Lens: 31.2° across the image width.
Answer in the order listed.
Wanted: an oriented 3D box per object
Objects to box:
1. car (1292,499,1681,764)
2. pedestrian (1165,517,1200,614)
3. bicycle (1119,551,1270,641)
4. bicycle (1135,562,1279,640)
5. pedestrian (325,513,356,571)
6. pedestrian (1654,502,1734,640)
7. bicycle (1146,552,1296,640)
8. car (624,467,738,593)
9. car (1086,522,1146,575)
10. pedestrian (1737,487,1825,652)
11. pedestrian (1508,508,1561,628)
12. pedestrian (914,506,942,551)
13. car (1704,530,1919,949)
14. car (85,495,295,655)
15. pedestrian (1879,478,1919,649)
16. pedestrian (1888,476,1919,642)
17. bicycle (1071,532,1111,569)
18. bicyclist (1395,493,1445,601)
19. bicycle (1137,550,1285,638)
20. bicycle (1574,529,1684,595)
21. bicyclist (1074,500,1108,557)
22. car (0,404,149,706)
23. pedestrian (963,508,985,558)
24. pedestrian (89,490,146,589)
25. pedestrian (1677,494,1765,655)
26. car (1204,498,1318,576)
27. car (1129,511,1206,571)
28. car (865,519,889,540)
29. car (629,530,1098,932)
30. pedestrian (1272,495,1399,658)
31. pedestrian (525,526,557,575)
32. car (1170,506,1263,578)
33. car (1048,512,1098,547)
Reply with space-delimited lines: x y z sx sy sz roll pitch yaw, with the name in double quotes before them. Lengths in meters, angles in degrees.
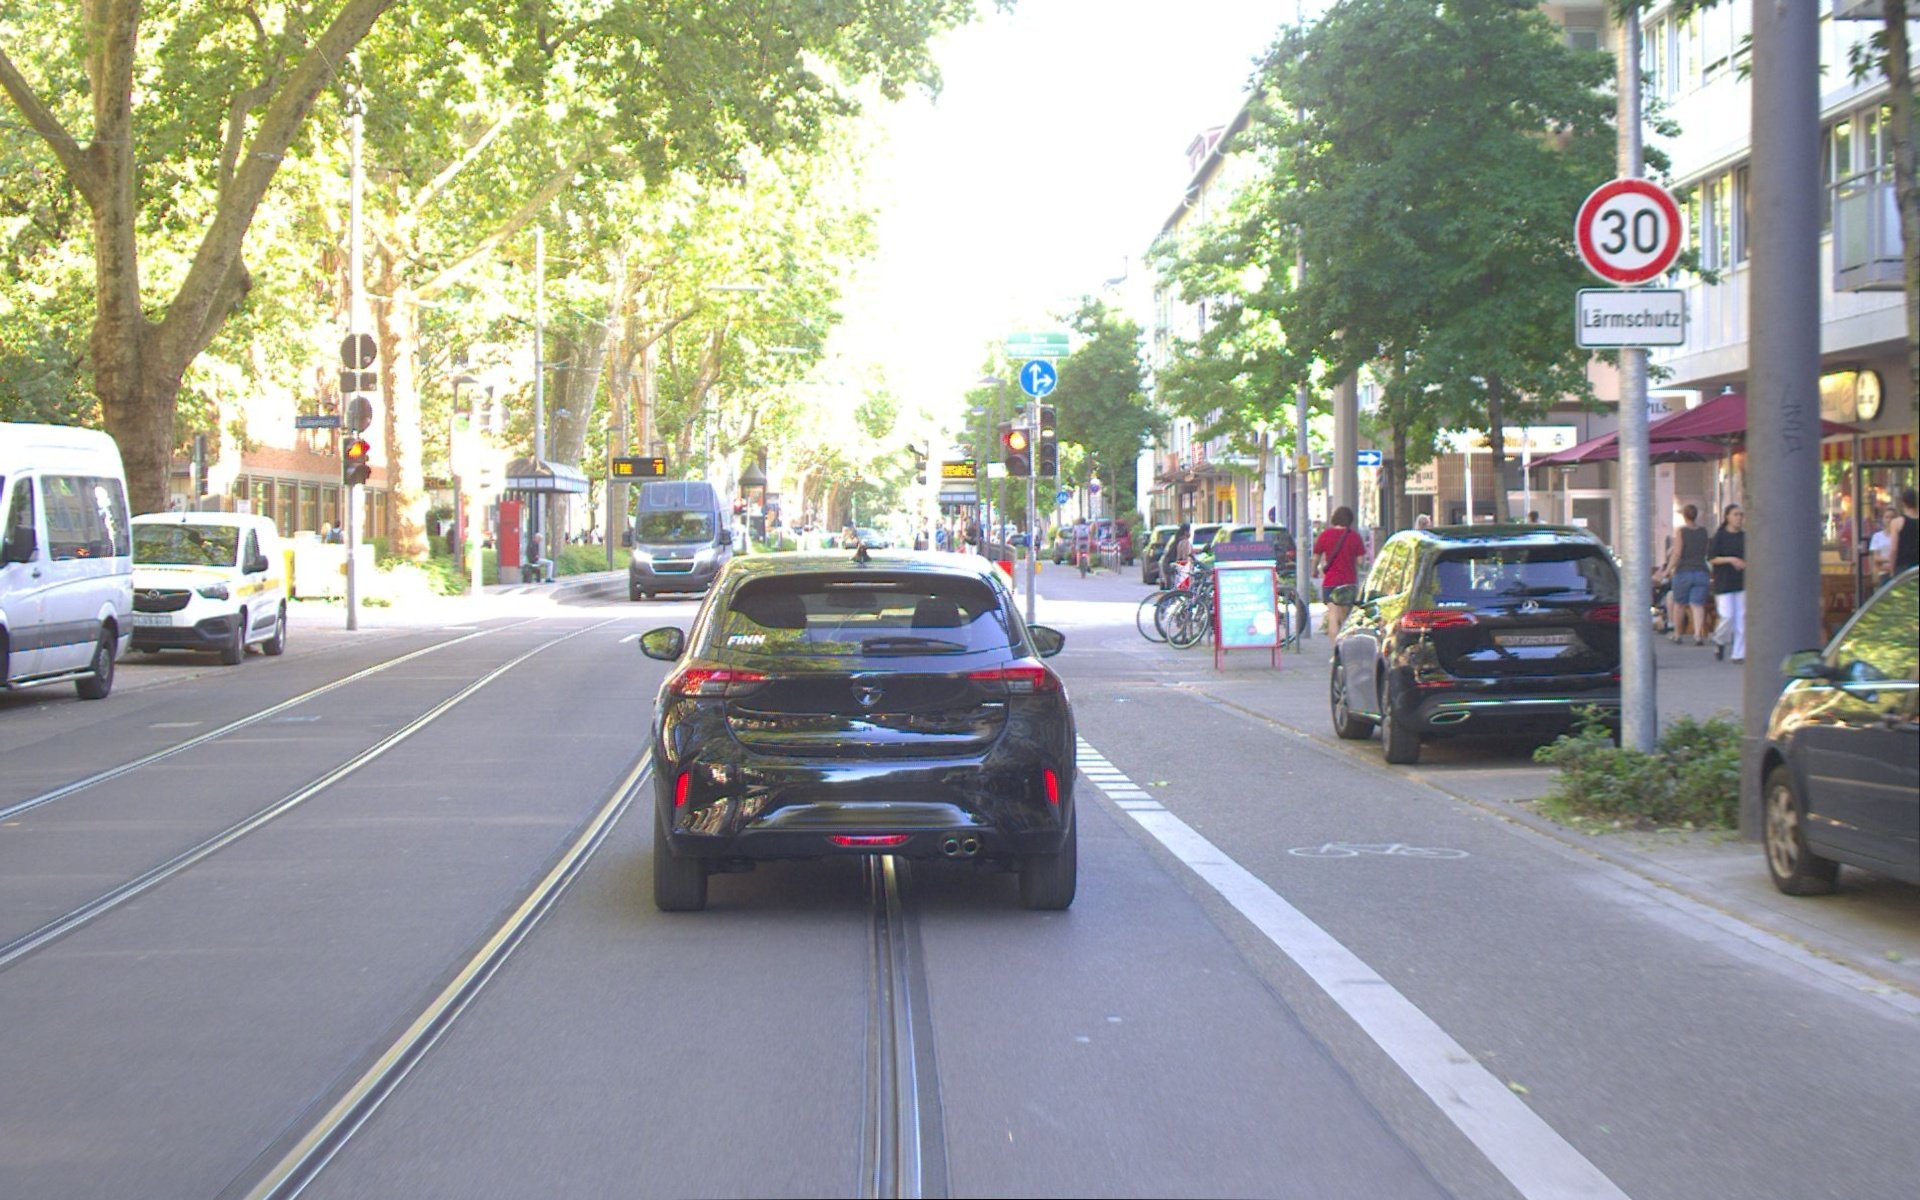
"car" 3.567 0.164 24.064 1.758 1.582 4.330 -4 1 -3
"pedestrian" 3.608 -0.551 55.823 0.551 1.556 0.645 1 0 4
"bicycle" 2.907 -0.056 42.721 1.815 1.096 0.525 0 1 -1
"bicycle" 3.213 0.016 44.837 1.815 0.991 0.481 1 1 -3
"pedestrian" -17.953 -1.681 99.710 0.735 1.666 0.861 1 1 0
"pedestrian" 8.940 -0.354 41.894 0.677 1.653 0.814 0 1 -11
"bicycle" 3.302 -0.049 43.481 1.815 1.096 0.481 0 1 -8
"car" -6.332 -1.593 78.621 2.113 2.728 6.115 -1 1 -1
"car" 5.901 -1.954 130.406 1.993 1.946 4.000 1 1 -1
"pedestrian" 8.565 -0.320 35.883 0.596 1.672 0.935 -3 1 -3
"pedestrian" 8.658 -0.484 51.835 0.590 1.778 0.995 1 1 -2
"pedestrian" -1.199 -2.686 129.128 0.751 1.703 0.762 1 1 34
"car" 4.239 0.482 13.302 1.622 1.476 3.890 -3 2 -3
"car" -9.379 -0.327 42.165 1.763 1.844 4.319 1 1 -2
"pedestrian" 9.995 -0.387 36.281 0.431 1.790 0.489 1 1 -2
"pedestrian" 10.500 -0.447 37.400 0.526 1.799 0.630 1 1 43
"bicycle" 4.021 -1.521 105.709 0.860 1.132 2.396 0 1 -7
"bicyclist" 7.354 -0.847 54.969 0.677 1.711 0.965 1 1 2
"bicycle" 3.217 -0.079 44.082 1.815 1.096 0.498 0 1 -8
"bicycle" 12.410 -0.715 63.802 1.914 1.203 0.511 0 2 -4
"bicyclist" 4.025 -2.197 105.752 0.860 1.753 1.054 0 1 -7
"car" -9.208 -0.423 31.443 2.108 2.568 6.024 1 1 0
"pedestrian" 0.446 -2.134 110.116 0.630 1.571 0.871 2 1 0
"pedestrian" -16.074 -1.160 65.609 0.923 1.829 0.920 0 3 -4
"pedestrian" 7.932 -0.272 35.851 0.642 1.632 0.870 -2 1 -2
"car" 6.344 -1.329 72.913 1.993 1.610 4.445 0 1 0
"car" 5.782 -1.649 96.121 1.857 1.610 4.398 1 1 0
"car" -6.261 -5.303 259.816 1.745 1.539 4.000 1 1 -2
"car" -0.447 0.467 14.896 1.759 1.503 3.683 -1 1 -3
"pedestrian" 4.122 -0.260 37.733 1.044 1.752 0.878 0 1 -34
"pedestrian" -10.218 -1.212 83.786 0.705 1.164 0.660 -1 1 -3
"car" 5.943 -1.346 80.159 1.799 1.600 4.415 1 1 0
"car" 4.887 -3.070 149.475 1.993 1.481 4.000 1 1 0
